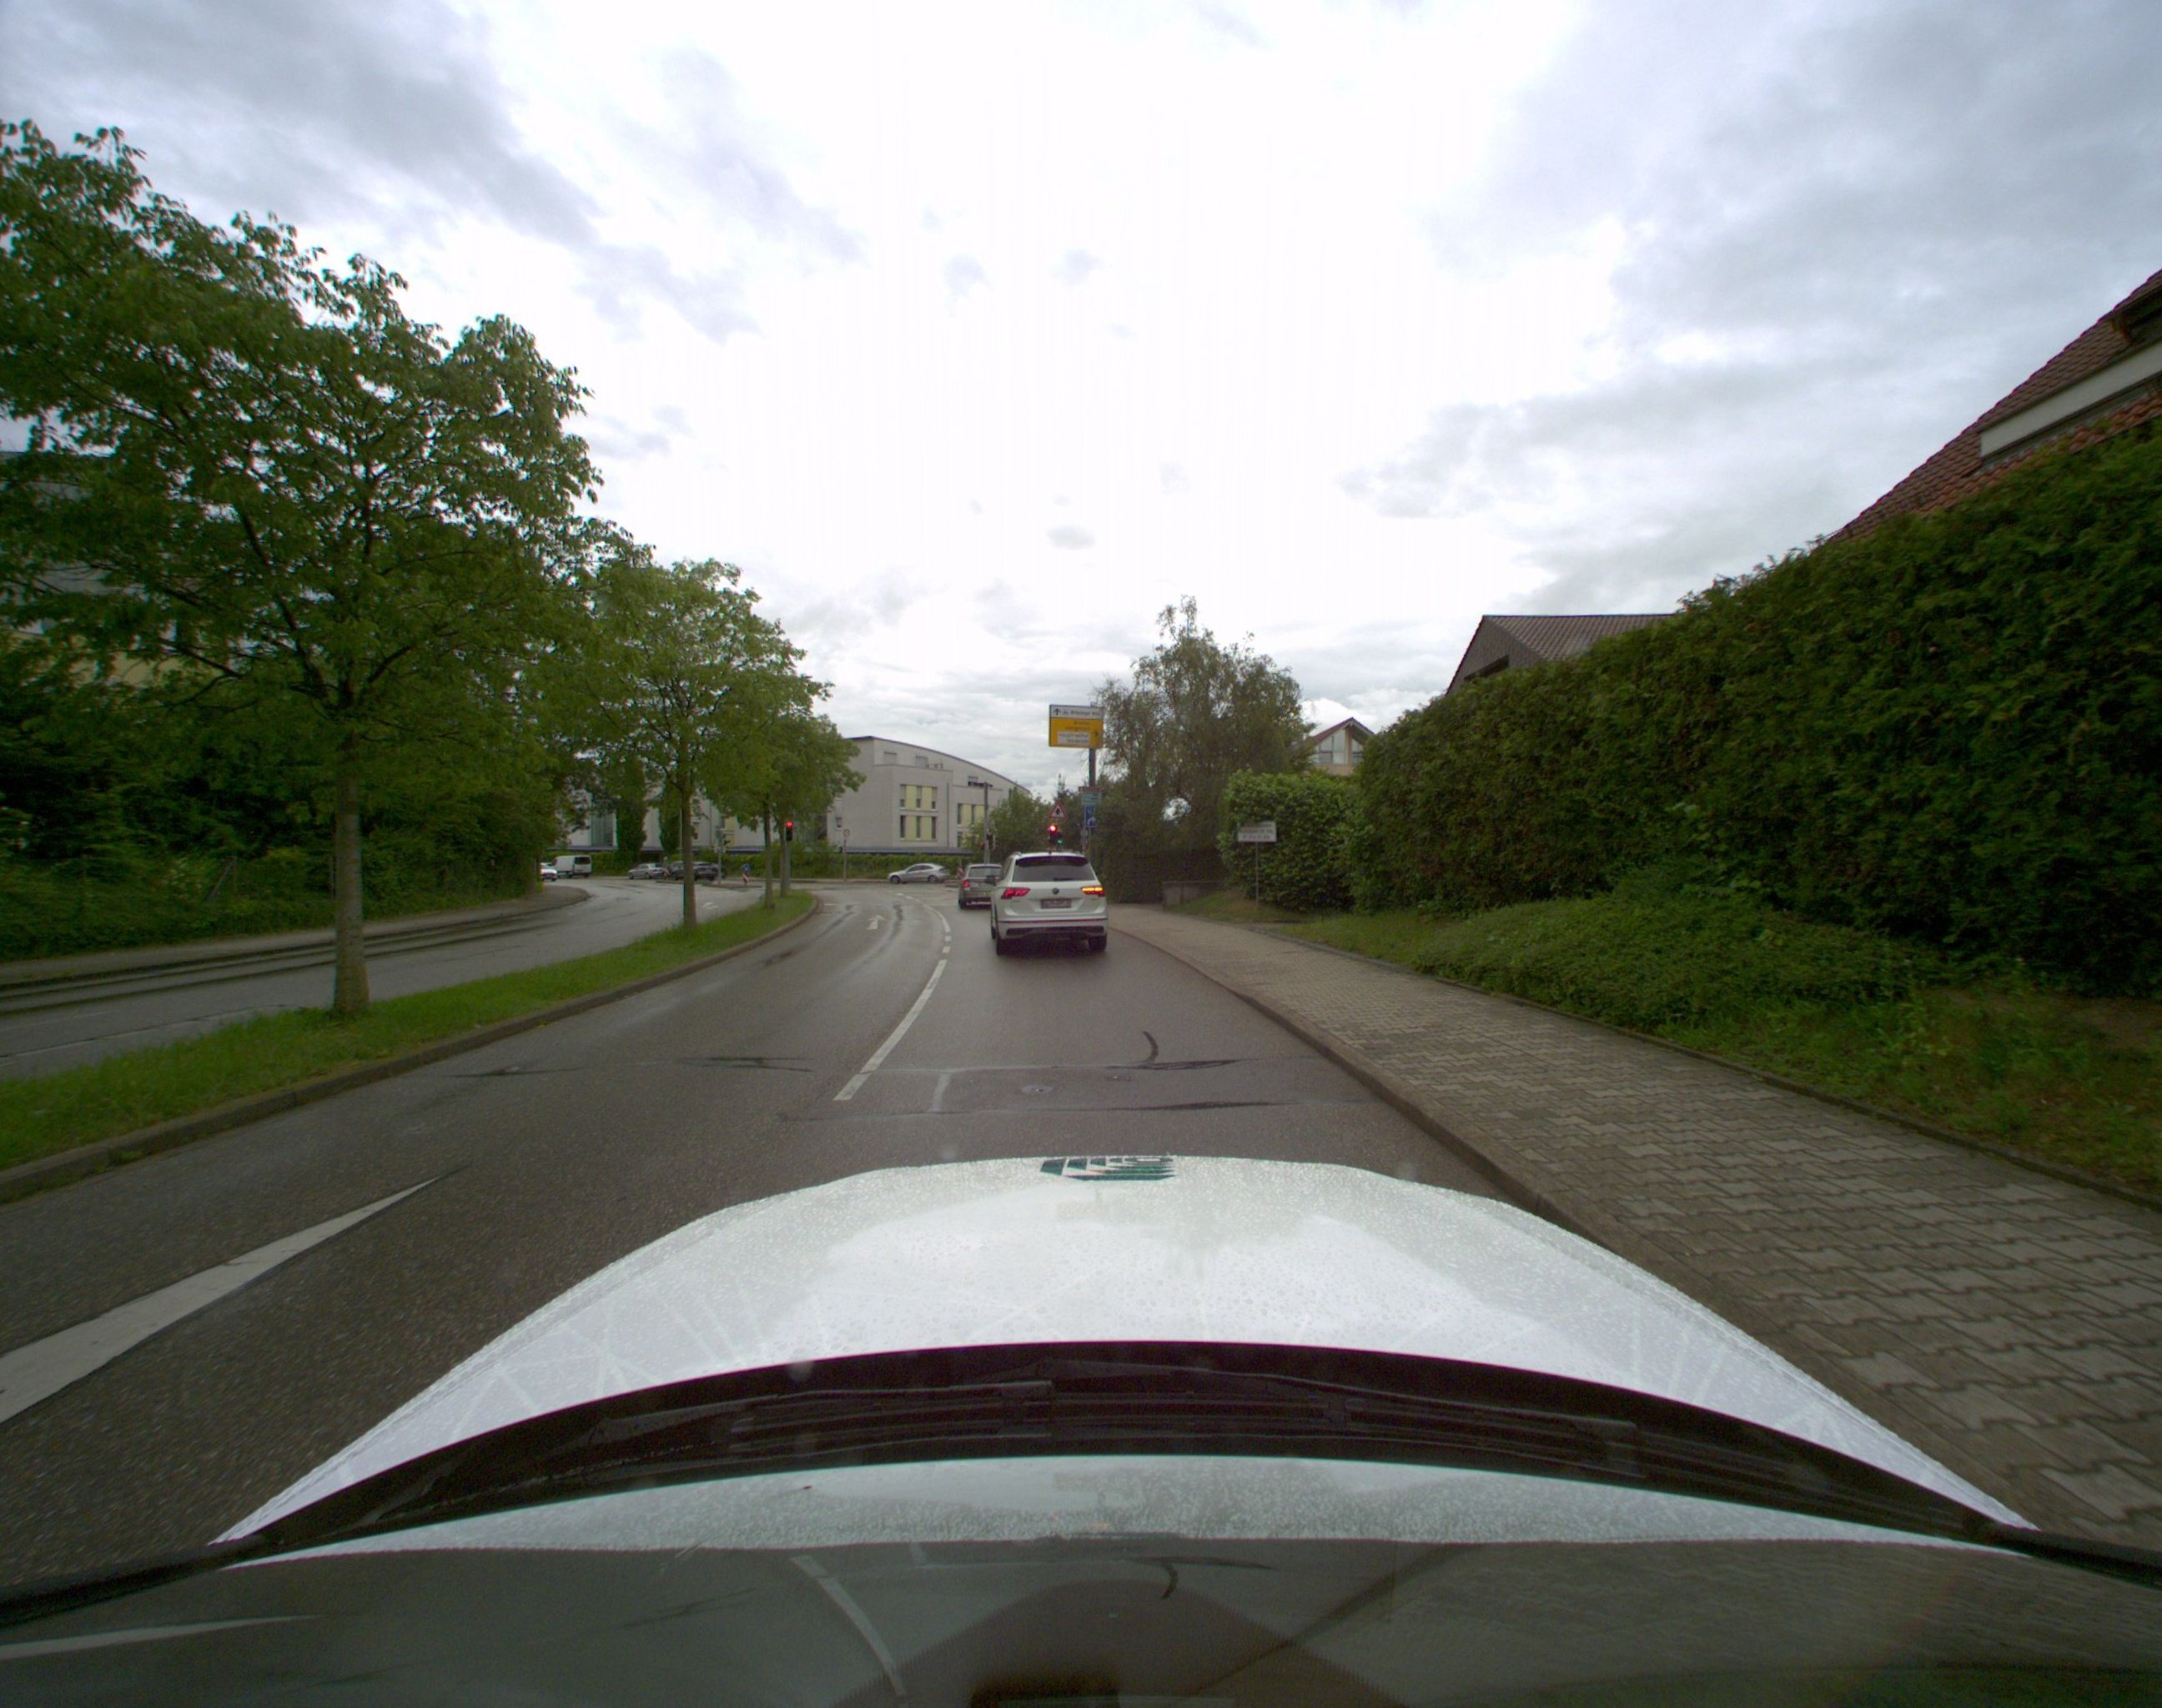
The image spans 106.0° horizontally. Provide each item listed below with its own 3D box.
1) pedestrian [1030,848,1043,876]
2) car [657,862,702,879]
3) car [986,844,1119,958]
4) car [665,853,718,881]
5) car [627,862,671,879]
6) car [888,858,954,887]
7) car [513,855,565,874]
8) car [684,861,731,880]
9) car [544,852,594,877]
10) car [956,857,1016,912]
[{"bbox_3d":[-3.253,0.585,59.868,0.800,2.013,0.846,-1,2,-12],"label":"pedestrian"},{"bbox_3d":[-36.934,1.521,74.920,3.948,1.555,2.013,-1,0,34],"label":"car"},{"bbox_3d":[-0.670,0.725,14.635,1.920,1.722,4.252,0,0,-9],"label":"car"},{"bbox_3d":[-31.976,1.023,66.854,3.950,2.013,1.993,4,2,30],"label":"car"},{"bbox_3d":[-41.113,1.601,77.454,3.948,1.555,2.013,-1,0,34],"label":"car"},{"bbox_3d":[-11.001,1.253,56.251,3.965,1.758,2.005,3,2,8],"label":"car"},{"bbox_3d":[-47.712,0.900,71.686,3.951,1.640,2.012,1,0,25],"label":"car"},{"bbox_3d":[-33.129,1.428,72.198,3.948,1.555,2.013,0,1,34],"label":"car"},{"bbox_3d":[-53.889,1.153,85.698,5.188,2.414,2.617,-3,-1,36],"label":"car"},{"bbox_3d":[-3.287,0.963,27.489,1.765,1.509,3.988,2,2,-10],"label":"car"}]
